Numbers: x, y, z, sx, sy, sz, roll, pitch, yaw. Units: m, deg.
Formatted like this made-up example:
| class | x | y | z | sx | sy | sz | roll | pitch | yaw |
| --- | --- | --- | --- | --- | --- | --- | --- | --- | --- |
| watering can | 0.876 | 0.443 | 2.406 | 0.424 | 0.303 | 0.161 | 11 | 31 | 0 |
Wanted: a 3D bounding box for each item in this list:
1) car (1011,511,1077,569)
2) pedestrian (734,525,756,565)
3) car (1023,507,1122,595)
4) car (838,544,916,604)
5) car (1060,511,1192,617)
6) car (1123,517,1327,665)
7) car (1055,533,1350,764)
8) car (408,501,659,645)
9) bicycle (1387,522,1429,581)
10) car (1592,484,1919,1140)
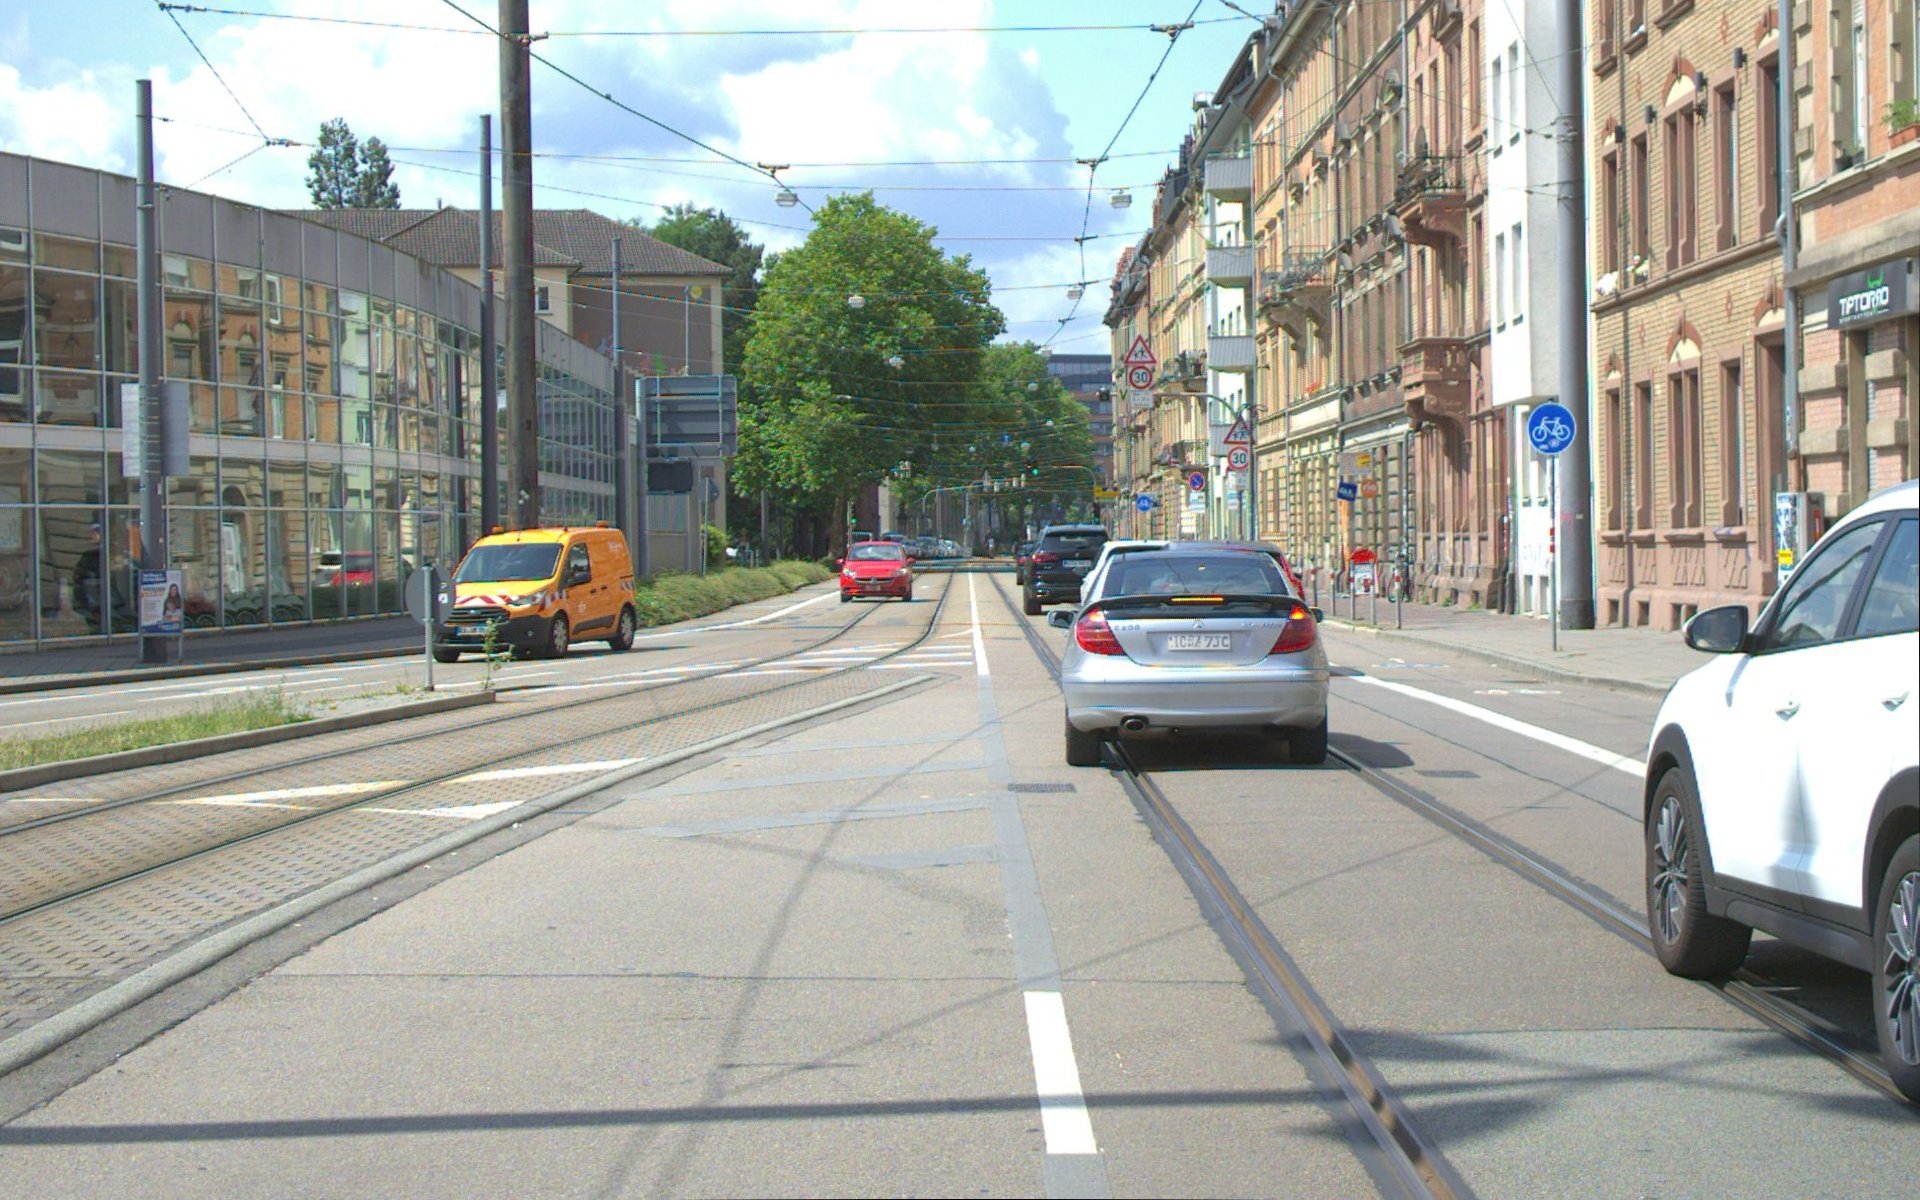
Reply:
| class | x | y | z | sx | sy | sz | roll | pitch | yaw |
| --- | --- | --- | --- | --- | --- | --- | --- | --- | --- |
| car | 2.788 | -2.018 | 114.932 | 1.993 | 1.853 | 4.000 | -1 | 1 | -1 |
| pedestrian | -10.151 | -2.590 | 162.309 | 0.880 | 1.859 | 1.081 | -2 | 1 | 1 |
| car | 2.211 | -0.977 | 68.450 | 1.814 | 1.656 | 4.085 | -1 | 1 | 0 |
| car | -2.005 | -0.649 | 83.869 | 1.702 | 1.423 | 3.902 | -1 | 1 | 1 |
| car | 2.502 | -0.582 | 52.608 | 1.814 | 1.519 | 3.956 | -1 | 1 | 0 |
| car | 2.897 | -0.144 | 38.365 | 1.814 | 1.519 | 4.086 | -1 | 1 | -2 |
| car | 1.568 | 0.273 | 23.515 | 1.814 | 1.415 | 4.187 | -1 | 1 | 2 |
| car | -5.880 | -0.417 | 47.962 | 1.912 | 1.859 | 4.364 | -2 | 1 | 15 |
| bicycle | 9.081 | -0.996 | 69.746 | 0.586 | 1.174 | 2.205 | -1 | 1 | 1 |
| car | 3.238 | 0.472 | 10.027 | 1.852 | 1.628 | 4.181 | -1 | 1 | -2 |
